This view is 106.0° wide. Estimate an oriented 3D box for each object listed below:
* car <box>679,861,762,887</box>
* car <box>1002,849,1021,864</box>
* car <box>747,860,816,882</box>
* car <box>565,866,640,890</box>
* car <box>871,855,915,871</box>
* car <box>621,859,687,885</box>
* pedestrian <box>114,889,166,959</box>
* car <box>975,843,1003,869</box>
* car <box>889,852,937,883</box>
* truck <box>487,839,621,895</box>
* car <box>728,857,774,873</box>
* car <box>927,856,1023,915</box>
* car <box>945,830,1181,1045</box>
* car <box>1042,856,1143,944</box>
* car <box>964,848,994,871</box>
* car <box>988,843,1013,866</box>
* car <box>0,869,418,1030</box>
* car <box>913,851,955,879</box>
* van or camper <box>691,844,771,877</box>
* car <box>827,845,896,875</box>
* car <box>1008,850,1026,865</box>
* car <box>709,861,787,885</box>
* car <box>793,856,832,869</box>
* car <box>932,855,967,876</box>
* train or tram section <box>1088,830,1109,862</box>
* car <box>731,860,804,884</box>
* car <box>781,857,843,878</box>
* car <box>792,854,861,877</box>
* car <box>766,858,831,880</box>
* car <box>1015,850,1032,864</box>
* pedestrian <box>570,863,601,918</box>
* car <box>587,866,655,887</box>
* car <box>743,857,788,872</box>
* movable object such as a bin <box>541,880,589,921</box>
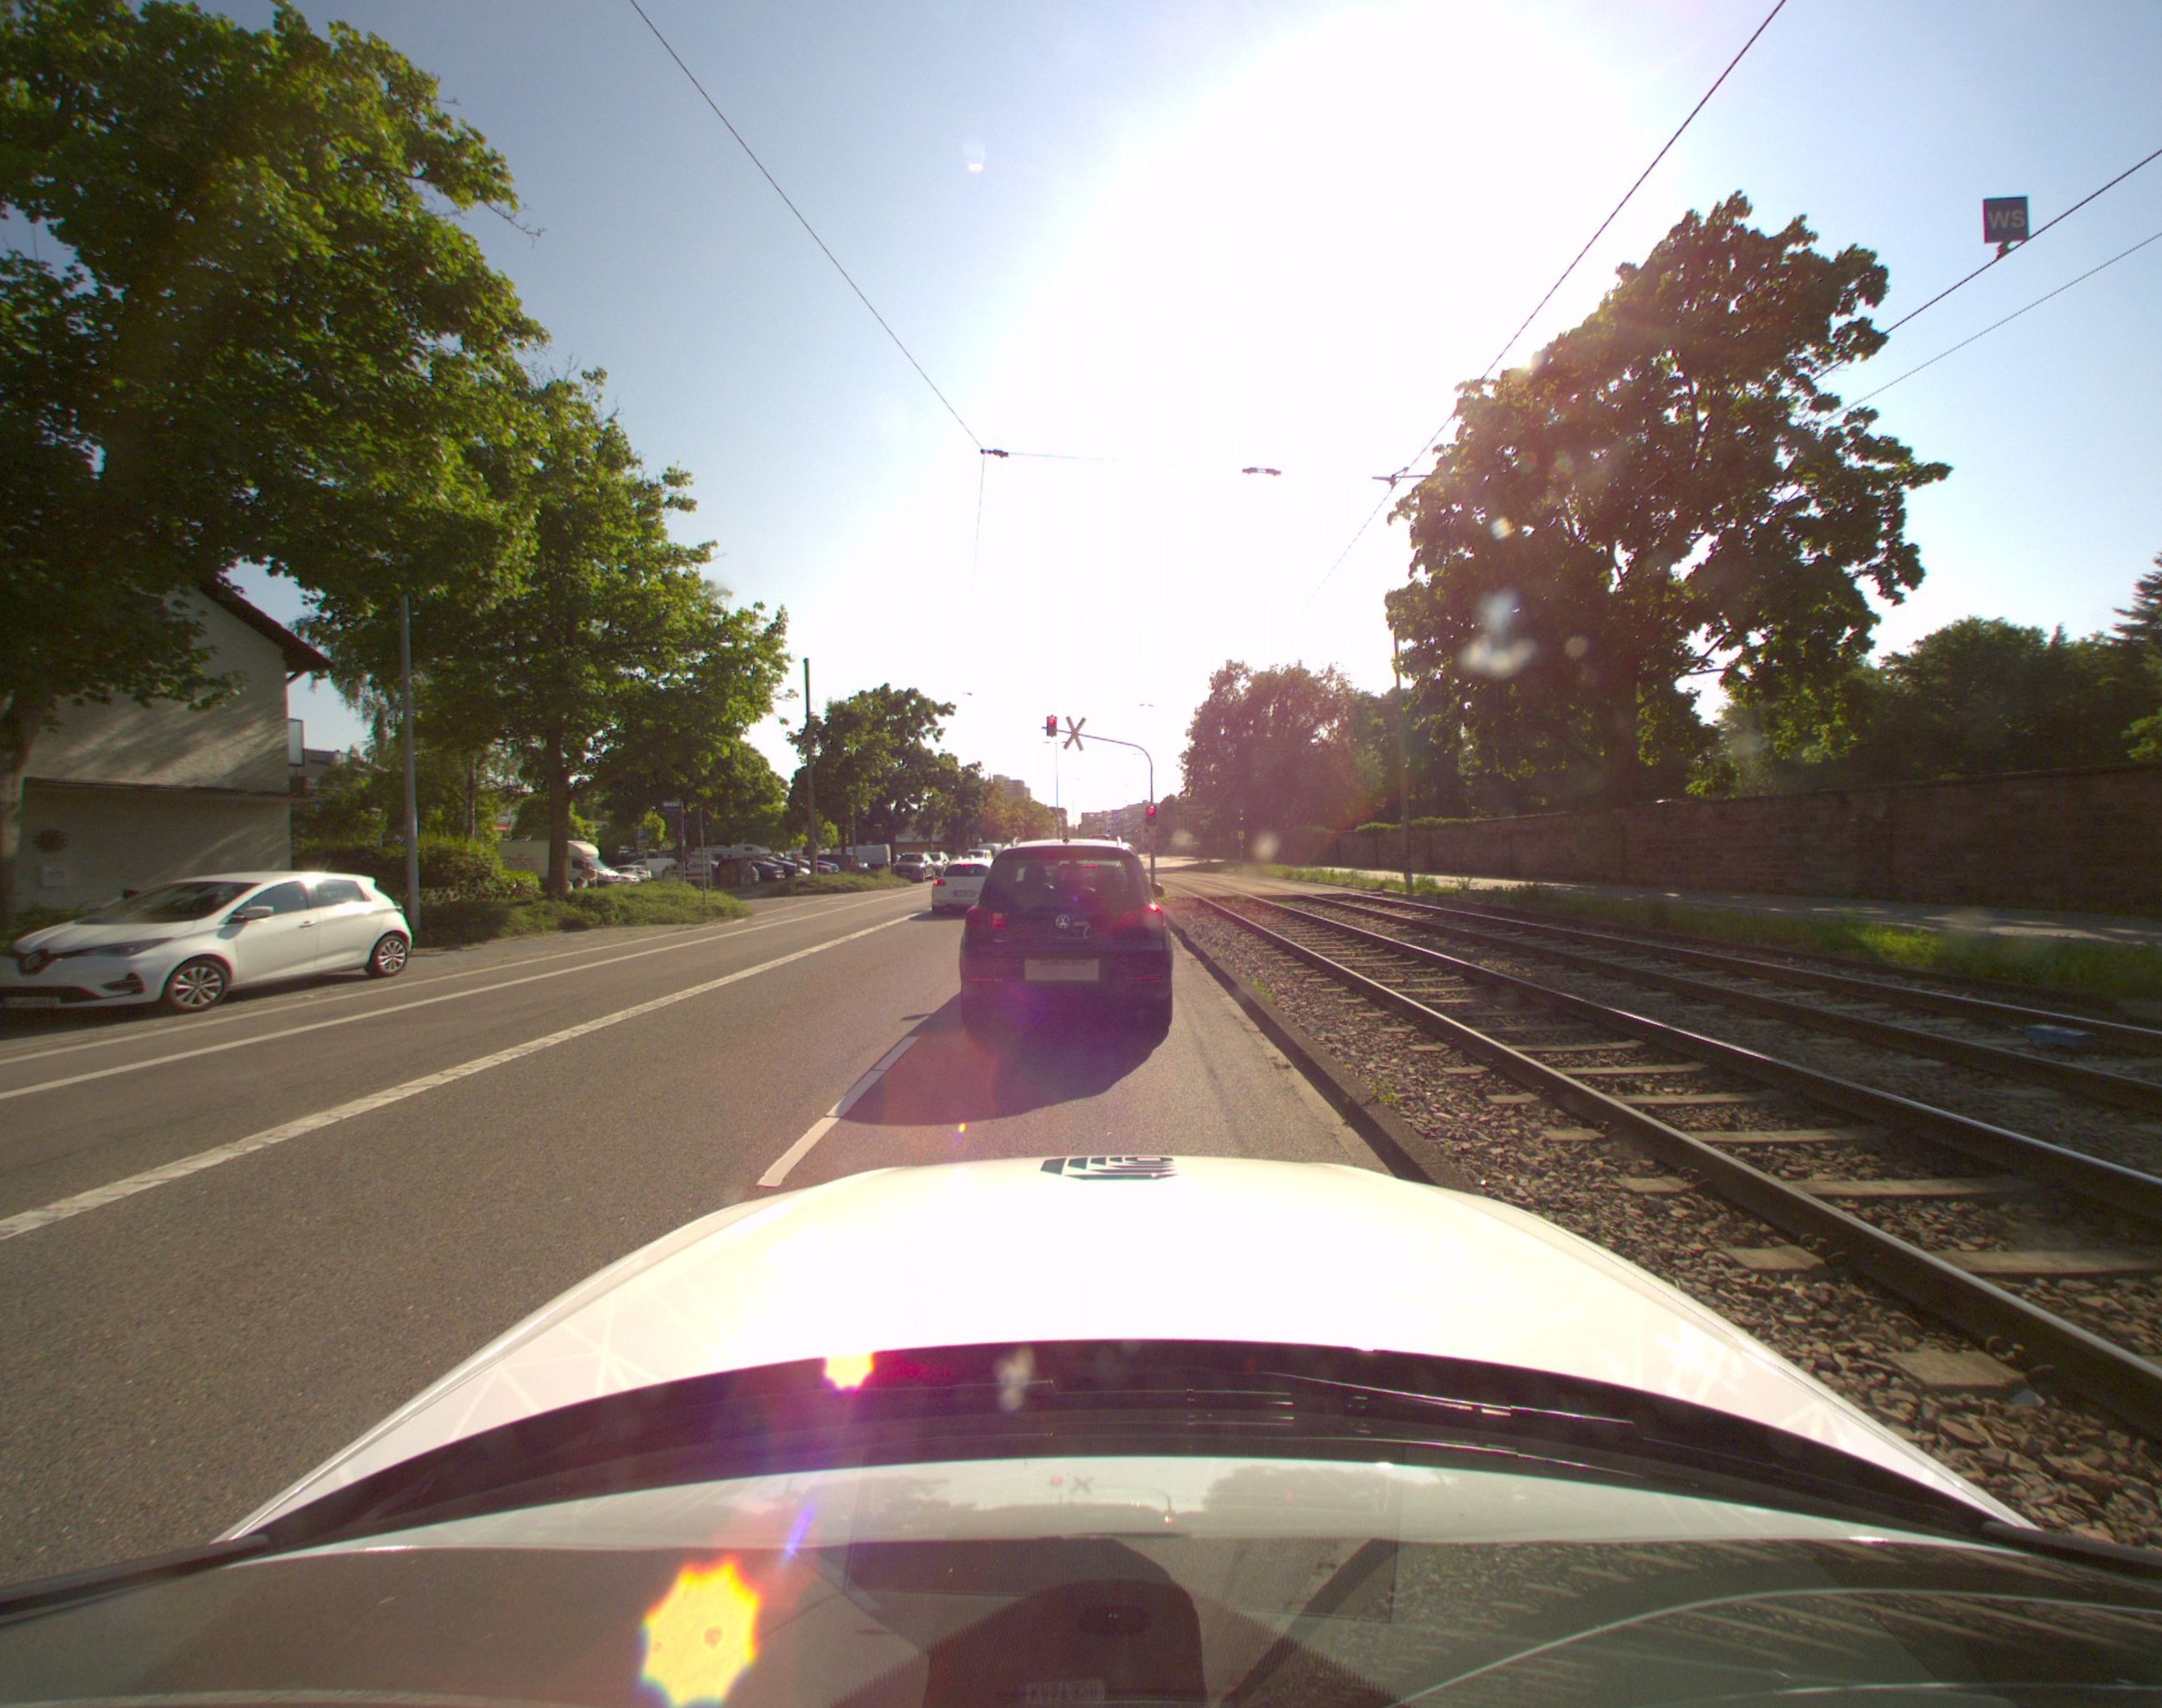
[{"bbox_3d":[-20.768,1.160,47.032,3.976,1.307,1.736,-2,0,-2],"label":"car"},{"bbox_3d":[-8.181,0.295,96.023,1.724,1.694,4.004,-2,1,3],"label":"car"},{"bbox_3d":[-20.301,1.133,55.316,3.976,1.307,1.736,-2,0,-2],"label":"car"},{"bbox_3d":[-32.702,1.613,55.721,3.976,1.457,1.736,-2,0,-2],"label":"car"},{"bbox_3d":[-18.872,0.893,81.798,3.976,1.397,1.736,-2,0,-2],"label":"car"},{"bbox_3d":[-31.863,1.337,60.852,3.981,1.728,1.624,-2,0,-6],"label":"car"},{"bbox_3d":[-16.258,1.207,14.070,0.344,1.162,0.447,-2,0,9],"label":"pedestrian"},{"bbox_3d":[-8.718,0.148,77.548,1.856,2.347,4.989,-2,0,3],"label":"car"},{"bbox_3d":[-9.799,0.777,47.819,1.724,1.657,4.003,-2,0,3],"label":"car"},{"bbox_3d":[-32.723,0.796,50.707,6.941,3.242,1.987,-2,0,-1],"label":"truck"},{"bbox_3d":[-31.986,1.016,78.991,3.653,1.397,1.736,-2,0,-2],"label":"car"},{"bbox_3d":[-2.684,0.757,21.463,1.858,1.348,4.002,-1,0,2],"label":"car"},{"bbox_3d":[-0.074,0.644,8.269,1.804,1.644,4.002,-1,0,2],"label":"car"},{"bbox_3d":[0.264,0.781,15.730,1.663,1.386,4.002,-2,0,2],"label":"car"},{"bbox_3d":[-8.842,0.450,70.872,1.724,1.860,4.493,-2,0,3],"label":"car"},{"bbox_3d":[-8.310,0.068,84.373,1.724,2.268,4.648,-2,0,3],"label":"car"},{"bbox_3d":[-10.768,1.018,10.324,1.596,1.550,3.891,0,0,-2],"label":"car"},{"bbox_3d":[-9.579,0.698,53.361,1.724,1.694,4.004,-2,1,3],"label":"car"},{"bbox_3d":[-32.539,0.574,75.831,6.439,2.868,2.308,-1,0,2],"label":"van or camper"},{"bbox_3d":[-19.092,0.477,70.905,5.356,2.423,2.088,-2,0,1],"label":"car"},{"bbox_3d":[-8.008,0.429,102.087,1.724,1.694,4.004,-2,1,3],"label":"car"},{"bbox_3d":[-20.151,1.155,49.434,3.976,1.307,1.736,-2,0,-2],"label":"car"},{"bbox_3d":[-31.619,1.028,96.081,3.976,1.397,1.736,-2,0,-2],"label":"car"},{"bbox_3d":[-9.587,0.810,59.678,1.724,1.389,3.738,-2,1,3],"label":"car"},{"bbox_3d":[2.095,-0.933,95.194,2.318,3.570,8.904,-2,0,2],"label":"train or tram section"},{"bbox_3d":[-19.997,1.140,52.067,3.976,1.307,1.736,-2,0,-2],"label":"car"},{"bbox_3d":[-19.960,1.012,60.495,3.976,1.397,1.736,-2,0,-2],"label":"car"},{"bbox_3d":[-19.608,0.870,62.879,4.604,1.651,2.049,-2,0,-1],"label":"car"},{"bbox_3d":[-19.928,1.026,57.516,3.976,1.397,1.736,-2,0,-2],"label":"car"},{"bbox_3d":[-7.609,0.402,107.403,1.724,1.694,4.004,-2,1,3],"label":"car"},{"bbox_3d":[-15.228,1.117,25.031,0.522,1.628,0.610,-2,0,1],"label":"pedestrian"},{"bbox_3d":[-33.095,1.598,58.613,3.966,1.361,1.630,-2,0,6],"label":"car"},{"bbox_3d":[-32.566,1.102,84.177,3.976,1.397,1.736,-2,0,-2],"label":"car"},{"bbox_3d":[-15.250,1.360,24.098,0.540,1.146,1.261,-2,0,2],"label":"movable object such as a bin"}]
